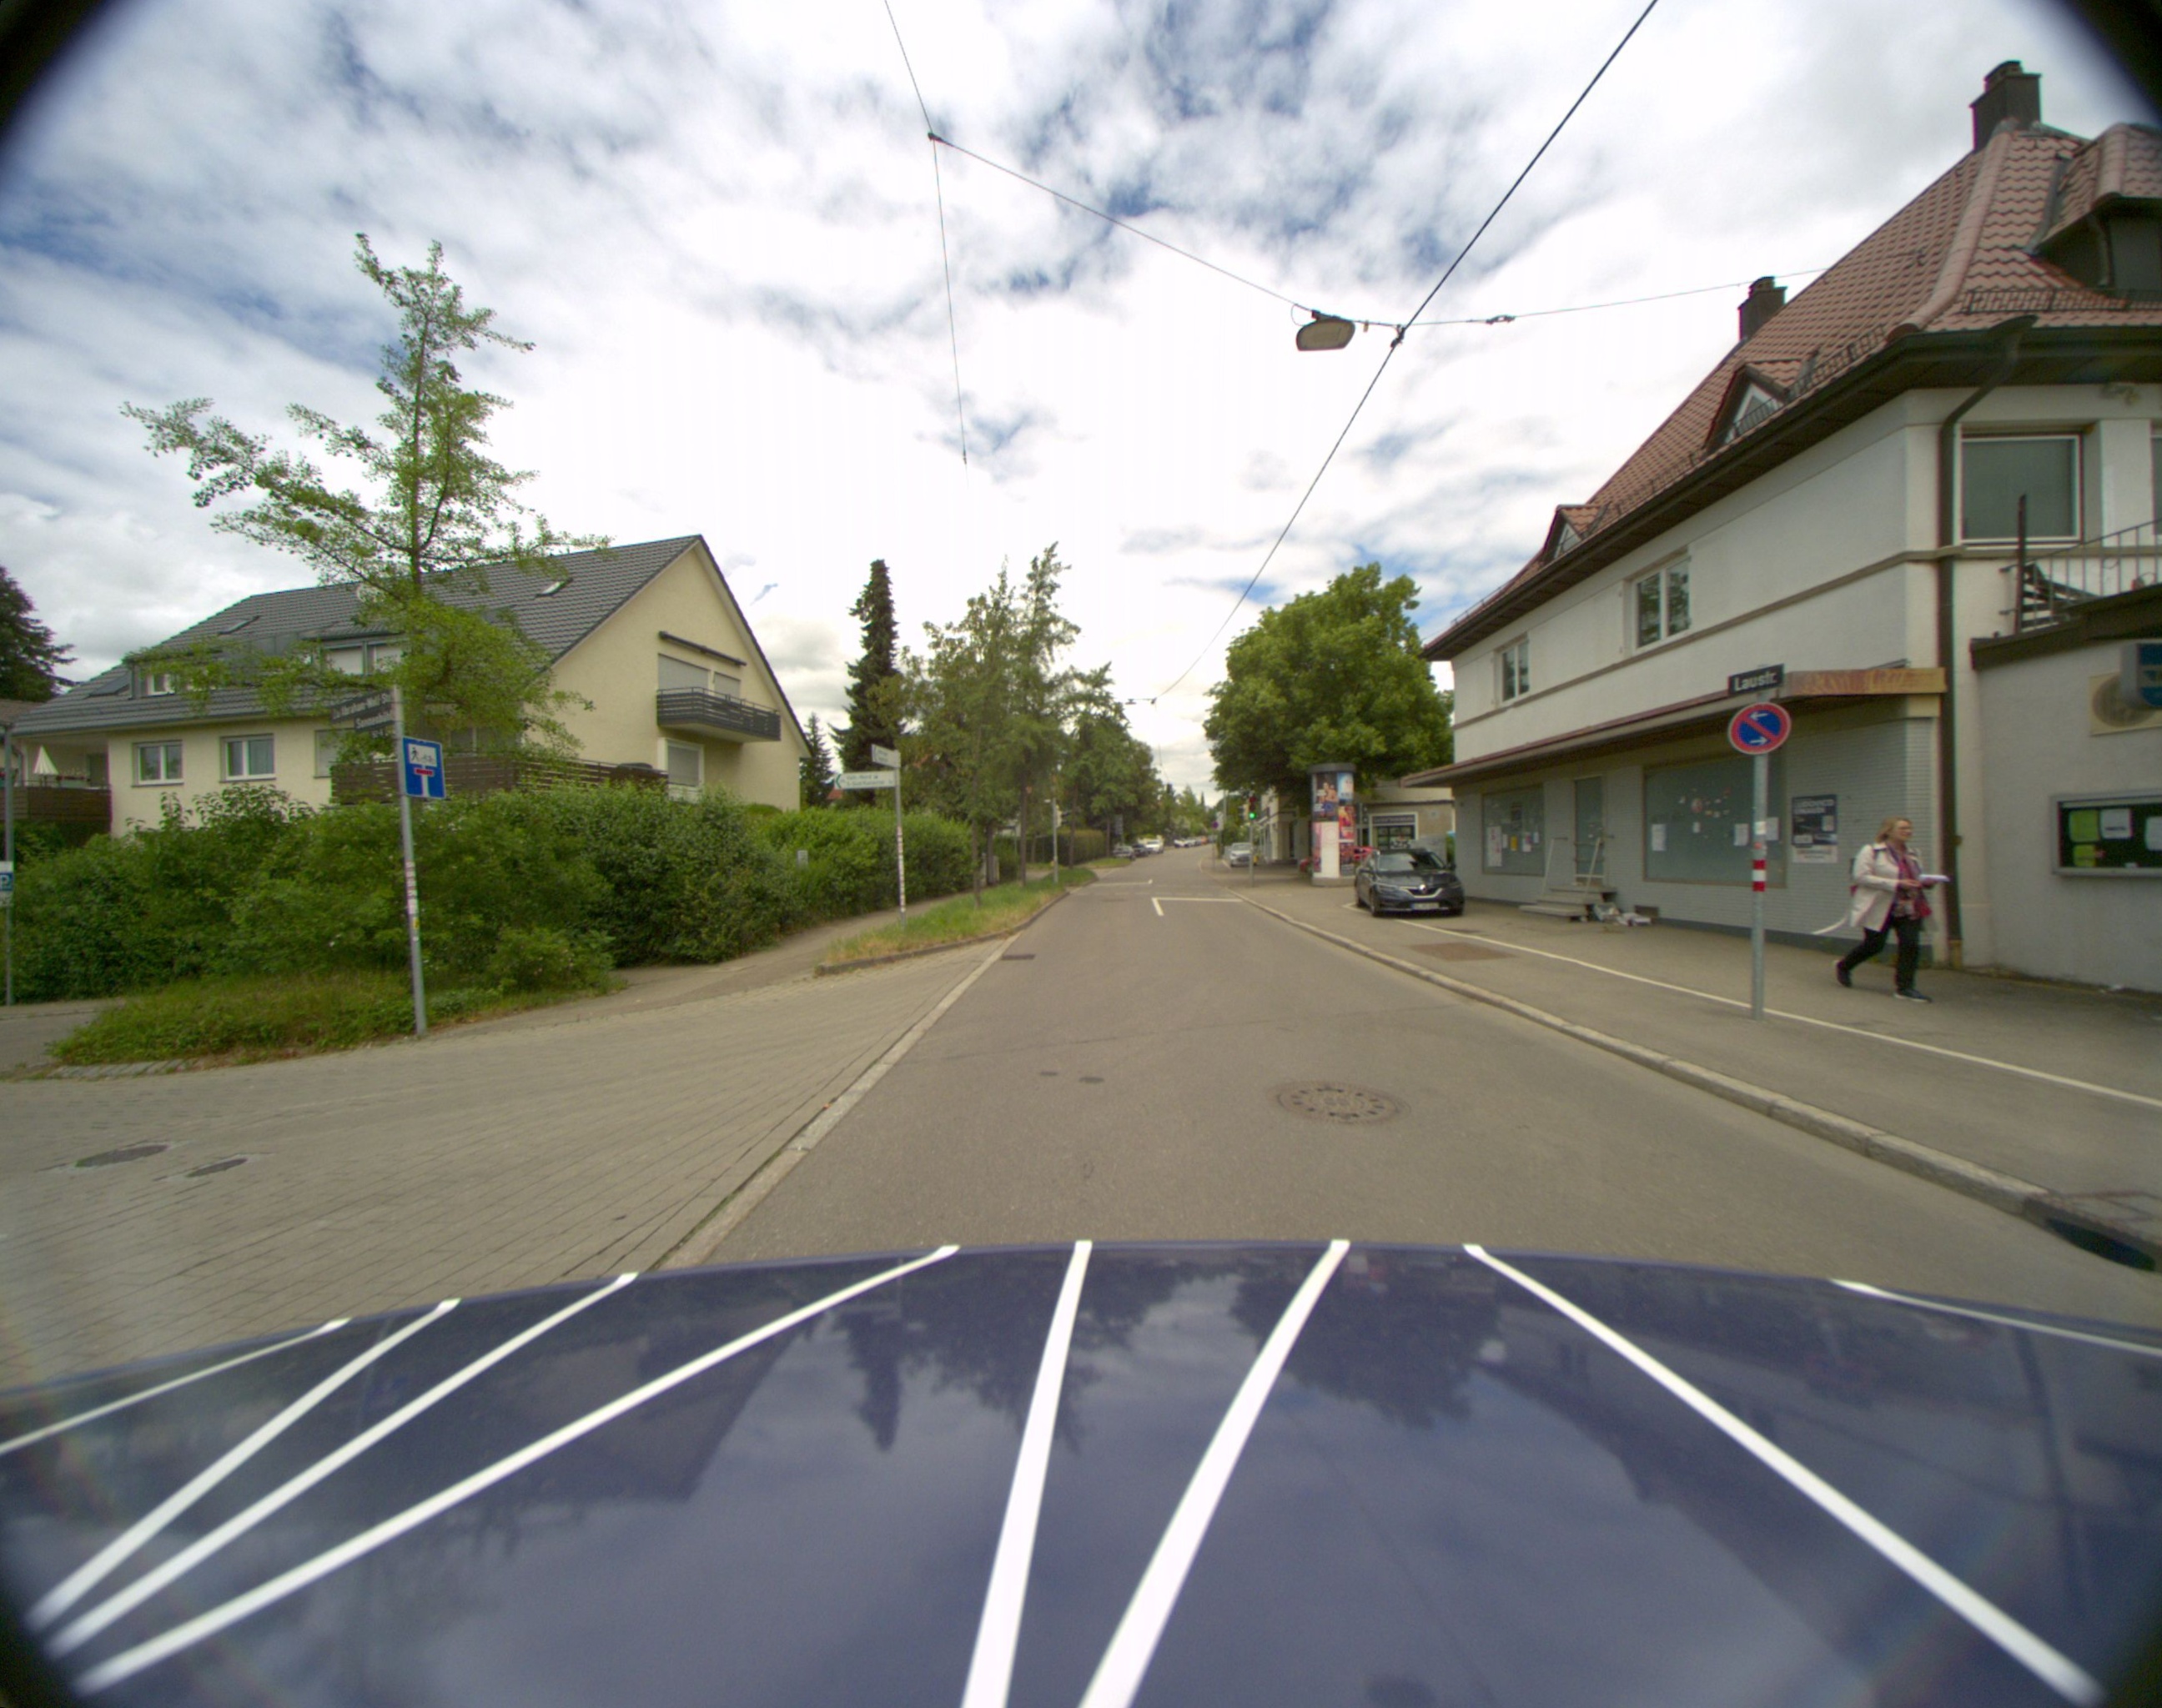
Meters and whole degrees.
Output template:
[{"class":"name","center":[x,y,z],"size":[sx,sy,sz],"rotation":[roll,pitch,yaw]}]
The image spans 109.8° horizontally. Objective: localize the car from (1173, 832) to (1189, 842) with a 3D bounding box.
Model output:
[{"class":"car","center":[15.397,-2.559,116.882],"size":[2.289,1.515,1.319],"rotation":[-1,2,22]}]

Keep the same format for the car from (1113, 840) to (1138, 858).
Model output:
[{"class":"car","center":[4.062,-0.441,69.153],"size":[1.712,1.405,3.792],"rotation":[-3,2,11]}]

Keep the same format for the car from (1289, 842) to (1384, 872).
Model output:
[{"class":"car","center":[12.876,0.162,38.371],"size":[4.221,1.424,1.820],"rotation":[-1,-1,36]}]

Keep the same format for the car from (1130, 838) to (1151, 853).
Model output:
[{"class":"car","center":[6.326,-0.931,80.289],"size":[1.712,1.479,3.792],"rotation":[-2,2,12]}]

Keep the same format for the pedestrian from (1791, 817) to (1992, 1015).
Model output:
[{"class":"pedestrian","center":[7.692,0.544,7.266],"size":[0.884,1.741,0.963],"rotation":[-2,2,-1]}]

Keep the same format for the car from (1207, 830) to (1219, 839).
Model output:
[{"class":"car","center":[25.963,-3.894,149.748],"size":[1.953,1.617,4.379],"rotation":[-3,2,15]}]

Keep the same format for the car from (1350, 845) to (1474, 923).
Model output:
[{"class":"car","center":[7.422,0.594,17.500],"size":[1.782,1.433,4.529],"rotation":[-3,1,13]}]

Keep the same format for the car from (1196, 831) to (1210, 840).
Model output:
[{"class":"car","center":[21.959,-3.344,136.784],"size":[1.853,1.617,4.173],"rotation":[-2,2,16]}]

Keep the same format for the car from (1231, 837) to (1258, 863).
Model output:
[{"class":"car","center":[10.843,-0.297,50.443],"size":[1.591,1.529,2.925],"rotation":[-4,1,11]}]

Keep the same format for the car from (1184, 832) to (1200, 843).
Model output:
[{"class":"car","center":[18.201,-2.732,124.499],"size":[1.831,1.614,4.496],"rotation":[-2,2,17]}]

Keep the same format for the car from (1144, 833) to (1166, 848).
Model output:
[{"class":"car","center":[8.879,-1.627,91.060],"size":[1.868,1.676,4.353],"rotation":[-2,2,14]}]

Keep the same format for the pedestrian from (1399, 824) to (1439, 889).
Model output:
[{"class":"pedestrian","center":[9.257,0.062,20.845],"size":[0.887,1.708,0.762],"rotation":[-3,1,20]}]
